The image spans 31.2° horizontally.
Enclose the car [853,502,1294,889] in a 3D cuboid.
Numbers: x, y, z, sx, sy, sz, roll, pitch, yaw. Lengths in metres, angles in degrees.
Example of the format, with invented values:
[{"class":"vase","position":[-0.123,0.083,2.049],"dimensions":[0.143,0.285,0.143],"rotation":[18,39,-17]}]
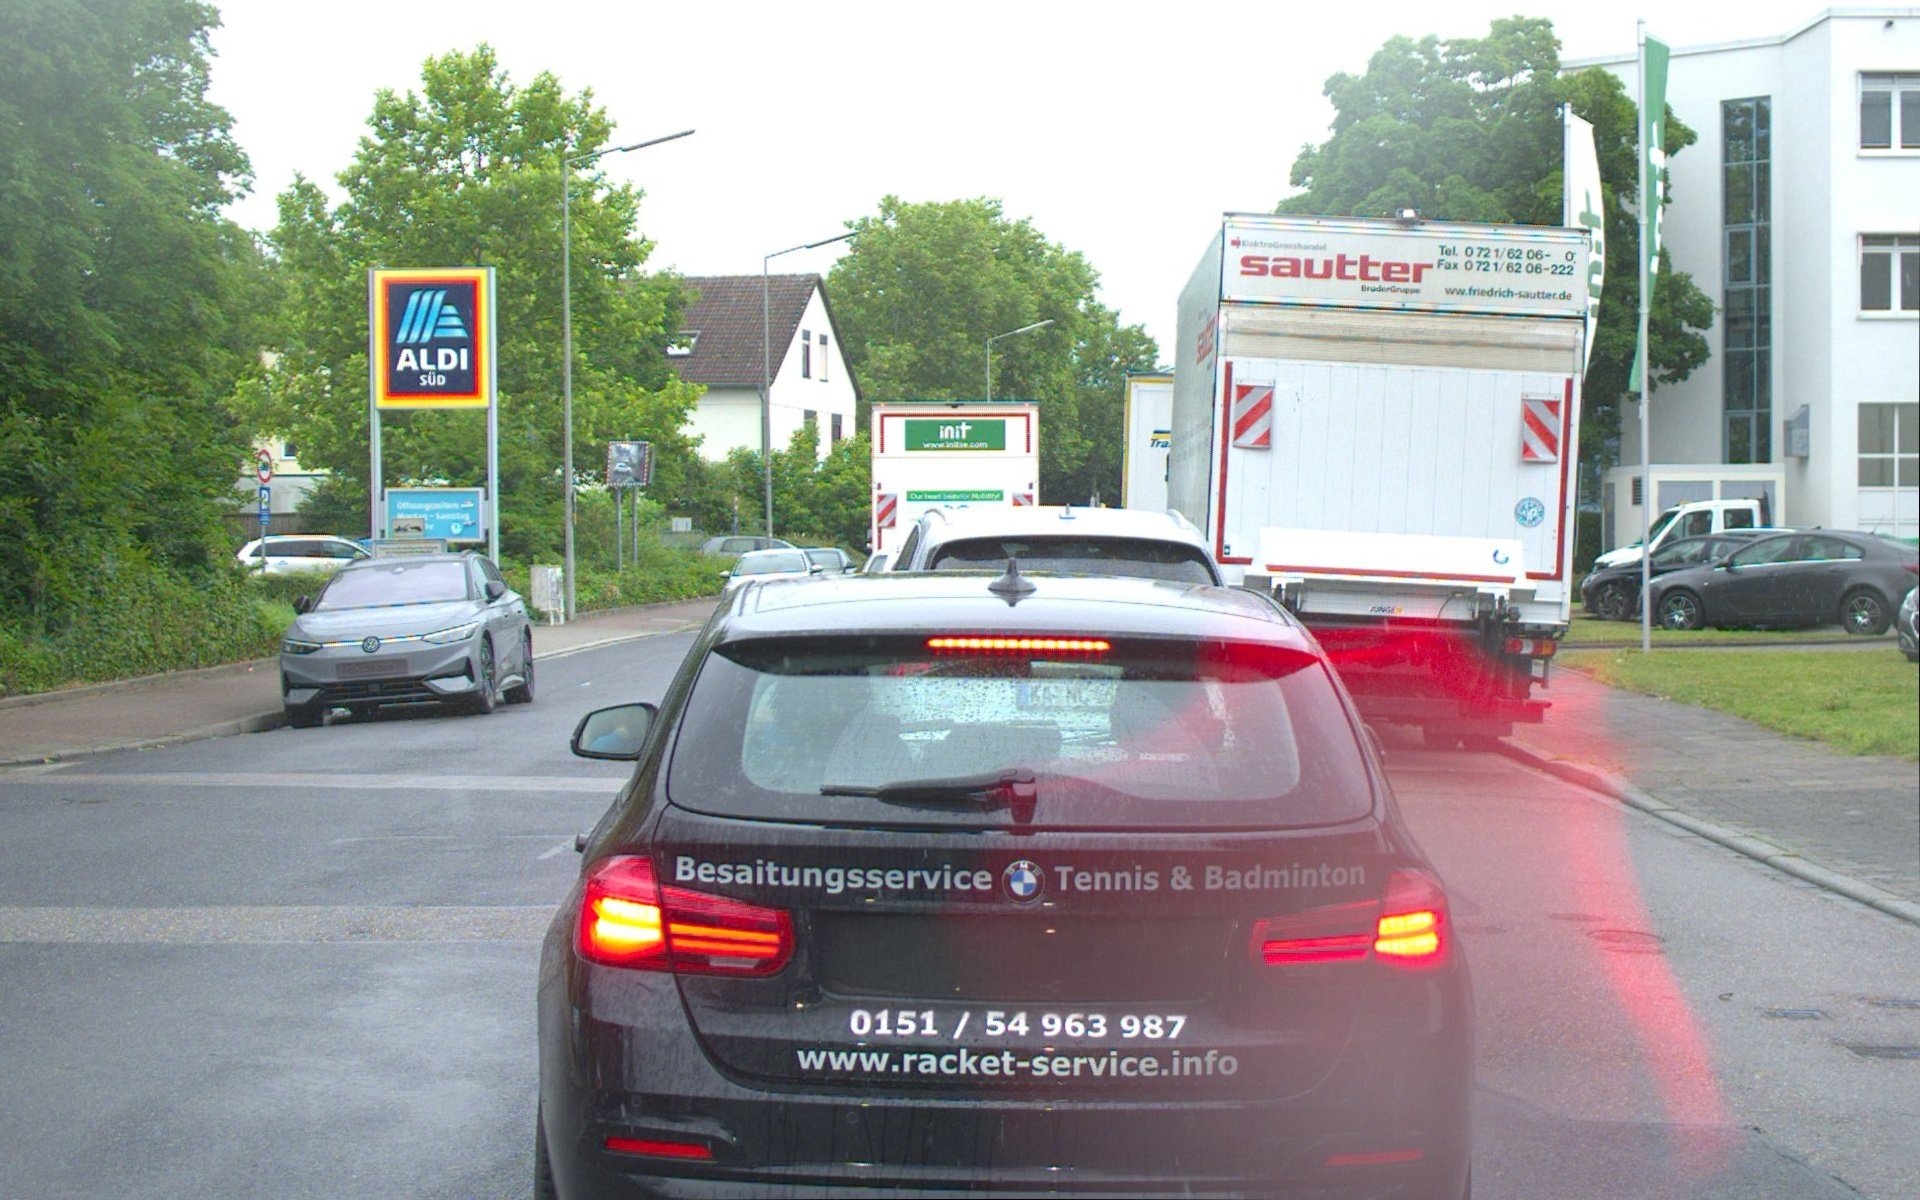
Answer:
[{"class":"car","position":[0.426,0.370,16.217],"dimensions":[1.804,1.581,4.000],"rotation":[1,1,-1]}]

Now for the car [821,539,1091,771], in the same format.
[{"class":"car","position":[-0.072,0.343,25.184],"dimensions":[1.804,1.547,4.000],"rotation":[1,1,-1]}]

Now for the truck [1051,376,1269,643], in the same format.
[{"class":"truck","position":[2.880,-1.331,51.585],"dimensions":[2.741,3.598,7.750],"rotation":[2,1,0]}]

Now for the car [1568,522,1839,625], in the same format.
[{"class":"car","position":[11.721,-0.445,54.322],"dimensions":[3.778,1.392,1.723],"rotation":[5,4,41]}]

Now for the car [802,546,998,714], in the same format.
[{"class":"car","position":[-0.602,0.252,34.038],"dimensions":[1.804,1.547,4.000],"rotation":[1,1,-1]}]

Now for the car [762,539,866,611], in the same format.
[{"class":"car","position":[-3.029,-0.541,72.085],"dimensions":[1.706,1.362,3.838],"rotation":[-2,1,4]}]

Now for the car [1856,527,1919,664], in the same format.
[{"class":"car","position":[11.145,-0.075,36.002],"dimensions":[3.758,1.388,1.706],"rotation":[-1,2,-44]}]

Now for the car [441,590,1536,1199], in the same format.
[{"class":"car","position":[0.003,0.705,7.703],"dimensions":[1.804,1.390,4.000],"rotation":[1,1,-1]}]

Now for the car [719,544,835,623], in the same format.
[{"class":"car","position":[-3.470,-0.337,65.900],"dimensions":[1.705,1.362,4.601],"rotation":[-2,1,3]}]

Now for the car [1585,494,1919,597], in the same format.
[{"class":"car","position":[16.351,-1.120,70.977],"dimensions":[6.452,2.007,2.000],"rotation":[1,0,-3]}]

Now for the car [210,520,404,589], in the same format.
[{"class":"car","position":[-14.722,-1.029,77.673],"dimensions":[3.987,1.535,1.910],"rotation":[0,1,2]}]

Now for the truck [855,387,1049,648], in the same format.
[{"class":"truck","position":[-0.166,-1.293,47.902],"dimensions":[2.341,3.245,7.752],"rotation":[3,3,-1]}]

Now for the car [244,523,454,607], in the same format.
[{"class":"car","position":[-11.414,-0.662,64.356],"dimensions":[3.570,1.455,1.712],"rotation":[2,1,3]}]

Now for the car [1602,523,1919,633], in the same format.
[{"class":"car","position":[11.443,-0.333,47.736],"dimensions":[4.671,1.463,1.787],"rotation":[1,1,39]}]

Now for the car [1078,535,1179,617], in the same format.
[{"class":"car","position":[3.267,-0.493,67.074],"dimensions":[1.904,1.535,4.000],"rotation":[0,1,2]}]

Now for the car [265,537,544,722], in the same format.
[{"class":"car","position":[-5.202,0.225,32.778],"dimensions":[1.809,1.523,4.748],"rotation":[-4,1,0]}]

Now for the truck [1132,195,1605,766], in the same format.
[{"class":"truck","position":[3.010,-0.907,28.069],"dimensions":[2.741,3.776,9.299],"rotation":[2,1,1]}]
